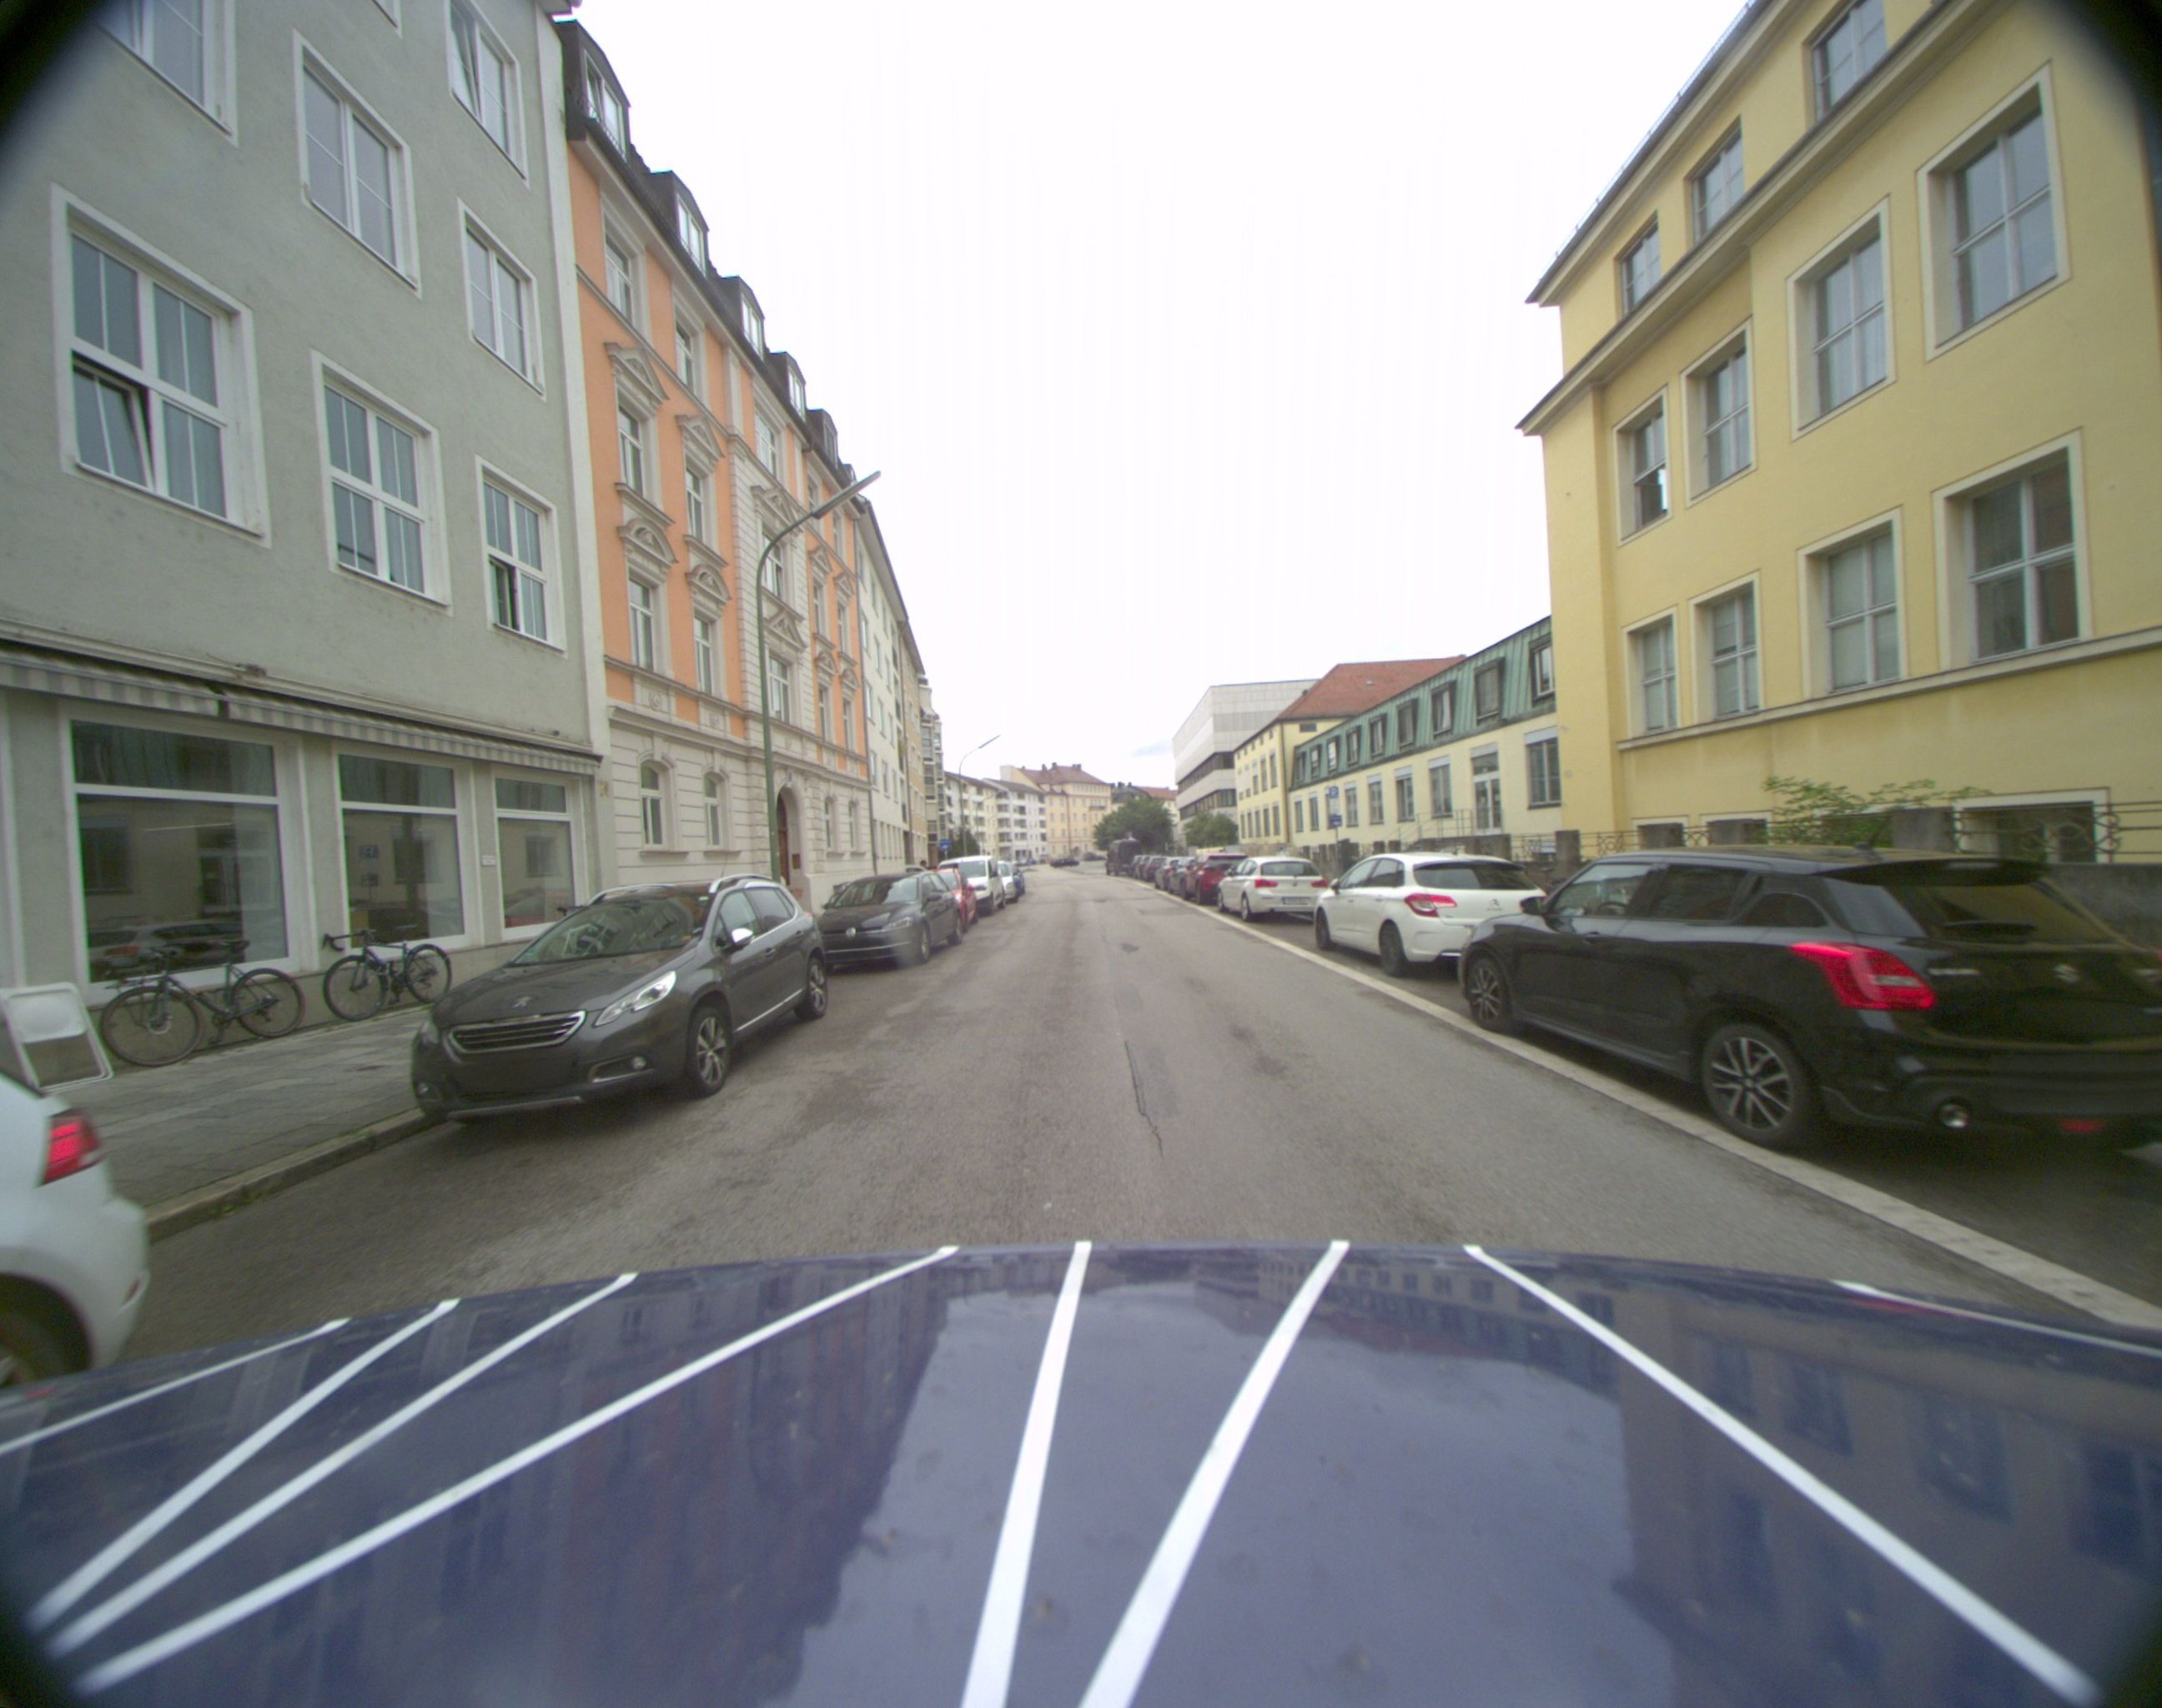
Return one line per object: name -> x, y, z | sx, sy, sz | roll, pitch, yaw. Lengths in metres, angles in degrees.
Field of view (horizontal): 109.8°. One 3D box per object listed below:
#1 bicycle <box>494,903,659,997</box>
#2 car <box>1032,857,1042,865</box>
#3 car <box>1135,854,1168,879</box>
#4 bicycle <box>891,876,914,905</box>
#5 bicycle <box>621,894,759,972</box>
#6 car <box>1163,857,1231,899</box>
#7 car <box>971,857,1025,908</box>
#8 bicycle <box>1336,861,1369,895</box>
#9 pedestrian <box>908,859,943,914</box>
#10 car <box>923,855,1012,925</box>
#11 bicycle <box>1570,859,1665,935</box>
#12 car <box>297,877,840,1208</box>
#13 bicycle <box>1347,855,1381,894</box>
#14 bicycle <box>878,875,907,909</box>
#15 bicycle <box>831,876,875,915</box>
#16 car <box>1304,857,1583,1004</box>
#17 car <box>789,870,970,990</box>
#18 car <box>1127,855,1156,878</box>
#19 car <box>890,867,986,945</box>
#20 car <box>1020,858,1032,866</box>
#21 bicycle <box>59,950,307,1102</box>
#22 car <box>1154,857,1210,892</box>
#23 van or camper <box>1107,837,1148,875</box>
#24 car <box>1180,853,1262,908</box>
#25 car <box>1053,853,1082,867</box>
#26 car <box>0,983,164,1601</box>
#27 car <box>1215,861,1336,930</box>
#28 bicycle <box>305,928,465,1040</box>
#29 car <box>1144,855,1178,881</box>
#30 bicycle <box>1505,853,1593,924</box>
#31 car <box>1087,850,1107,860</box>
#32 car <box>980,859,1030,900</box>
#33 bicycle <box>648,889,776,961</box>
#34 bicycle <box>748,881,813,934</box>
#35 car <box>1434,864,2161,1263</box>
bicycle -> -7.451, 1.367, 11.427 | 0.771, 1.068, 2.458 | -3, 0, 1
car -> -9.067, 1.446, 157.310 | 1.756, 1.445, 3.570 | -4, 0, 2
car -> 4.470, 0.779, 48.589 | 1.700, 1.553, 3.867 | 0, 0, -2
bicycle -> -7.725, 1.577, 32.915 | 0.669, 1.115, 1.651 | -4, 1, -6
bicycle -> -7.054, 1.384, 13.802 | 0.607, 1.176, 2.099 | -2, 1, 45
car -> 4.205, 0.838, 28.096 | 1.679, 1.397, 3.989 | 0, 0, -4
car -> -3.115, 1.031, 29.108 | 1.608, 1.633, 3.630 | -5, 1, -1
bicycle -> 8.814, 0.760, 24.725 | 0.456, 0.989, 1.741 | -5, 0, 4
pedestrian -> -4.873, 1.008, 23.884 | 0.863, 1.652, 0.647 | -3, 0, 0
car -> -3.393, 1.016, 23.711 | 1.845, 1.775, 4.895 | -6, 0, 1
bicycle -> 8.651, 0.661, 12.333 | 0.587, 1.071, 1.718 | -5, 0, 13
car -> -3.534, 1.128, 6.337 | 1.697, 1.574, 4.082 | -5, 0, -2
bicycle -> 9.257, 0.646, 24.921 | 0.424, 1.165, 1.938 | -5, 0, 4
bicycle -> -6.795, 1.356, 27.498 | 0.669, 1.115, 1.954 | -4, 1, -6
bicycle -> -7.290, 1.312, 24.387 | 0.652, 1.176, 2.096 | -1, -1, 3
car -> 4.434, 0.813, 10.080 | 1.727, 1.518, 4.087 | 1, 0, 0
car -> -3.186, 1.140, 12.911 | 1.696, 1.443, 4.083 | -5, 0, 2
car -> 4.180, 0.817, 52.937 | 1.642, 1.553, 3.838 | 0, 0, -2
car -> -3.353, 1.161, 18.587 | 1.603, 1.443, 4.300 | -5, 0, -3
car -> -10.469, 1.464, 145.108 | 1.756, 1.445, 3.570 | -4, 0, 2
bicycle -> -7.876, 1.459, 6.768 | 0.331, 0.998, 1.521 | -2, 0, 1
car -> 4.317, 0.861, 33.110 | 1.798, 1.397, 4.127 | 0, 0, -2
van or camper -> 3.571, 0.140, 59.393 | 2.142, 2.791, 5.569 | -2, 0, -7
car -> 4.185, 0.742, 23.340 | 1.679, 1.557, 3.996 | 0, 0, -2
car -> -2.063, 0.933, 114.831 | 4.248, 1.849, 1.999 | -2, 0, -5
car -> -3.578, 1.183, 0.133 | 1.696, 1.455, 4.083 | -5, 0, 1
car -> 4.355, 0.874, 17.657 | 1.679, 1.390, 3.996 | 0, 0, -2
bicycle -> -7.788, 1.414, 8.586 | 0.331, 0.998, 1.521 | -2, 0, 1
car -> 4.563, 0.785, 43.752 | 1.699, 1.397, 4.000 | 0, 0, 2
bicycle -> 8.676, 0.607, 14.180 | 0.587, 1.191, 1.717 | -5, 0, 4
car -> 3.215, 0.130, 151.142 | 3.997, 1.849, 2.000 | -2, 0, 1
car -> -3.351, 1.095, 34.404 | 1.745, 1.578, 4.200 | -5, 0, -1
bicycle -> -7.107, 1.322, 14.726 | 0.607, 1.176, 2.099 | -1, 1, 44
bicycle -> -7.317, 1.276, 18.598 | 0.652, 1.176, 2.096 | -1, -1, 3
car -> 4.059, 0.838, 4.939 | 1.684, 1.487, 3.985 | 0, 0, 0
